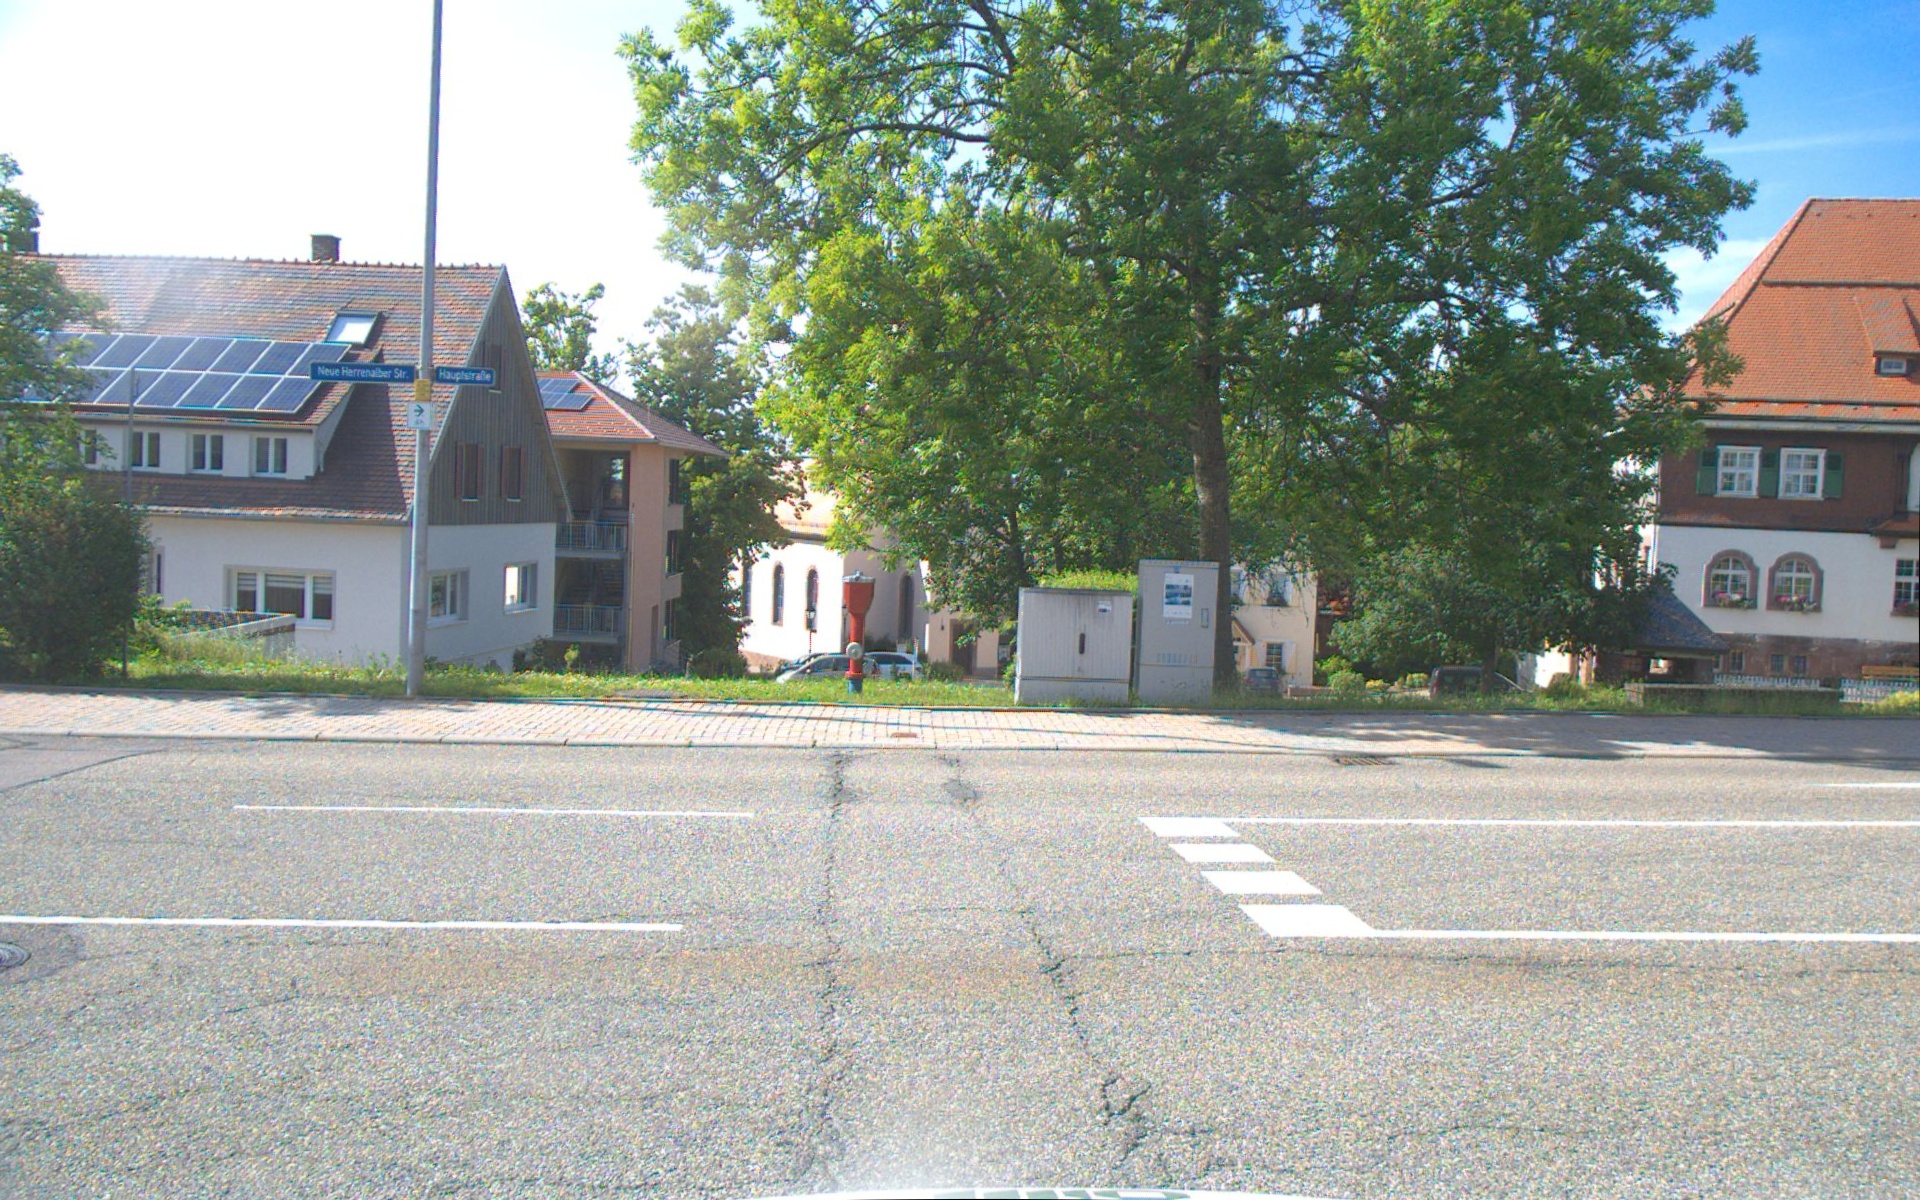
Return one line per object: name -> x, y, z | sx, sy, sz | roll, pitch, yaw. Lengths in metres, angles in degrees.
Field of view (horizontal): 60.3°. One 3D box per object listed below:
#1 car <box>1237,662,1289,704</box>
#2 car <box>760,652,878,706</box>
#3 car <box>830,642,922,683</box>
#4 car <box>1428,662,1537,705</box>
car -> 12.438, 3.385, 68.051 | 1.672, 1.569, 3.787 | 1, 0, 3
car -> -4.906, 2.737, 57.519 | 4.011, 1.789, 1.711 | 1, -1, -6
car -> -3.493, 2.578, 68.389 | 3.700, 1.621, 1.711 | 1, -1, -7
car -> 19.415, 3.097, 61.617 | 3.692, 1.470, 1.715 | 1, -1, 11
